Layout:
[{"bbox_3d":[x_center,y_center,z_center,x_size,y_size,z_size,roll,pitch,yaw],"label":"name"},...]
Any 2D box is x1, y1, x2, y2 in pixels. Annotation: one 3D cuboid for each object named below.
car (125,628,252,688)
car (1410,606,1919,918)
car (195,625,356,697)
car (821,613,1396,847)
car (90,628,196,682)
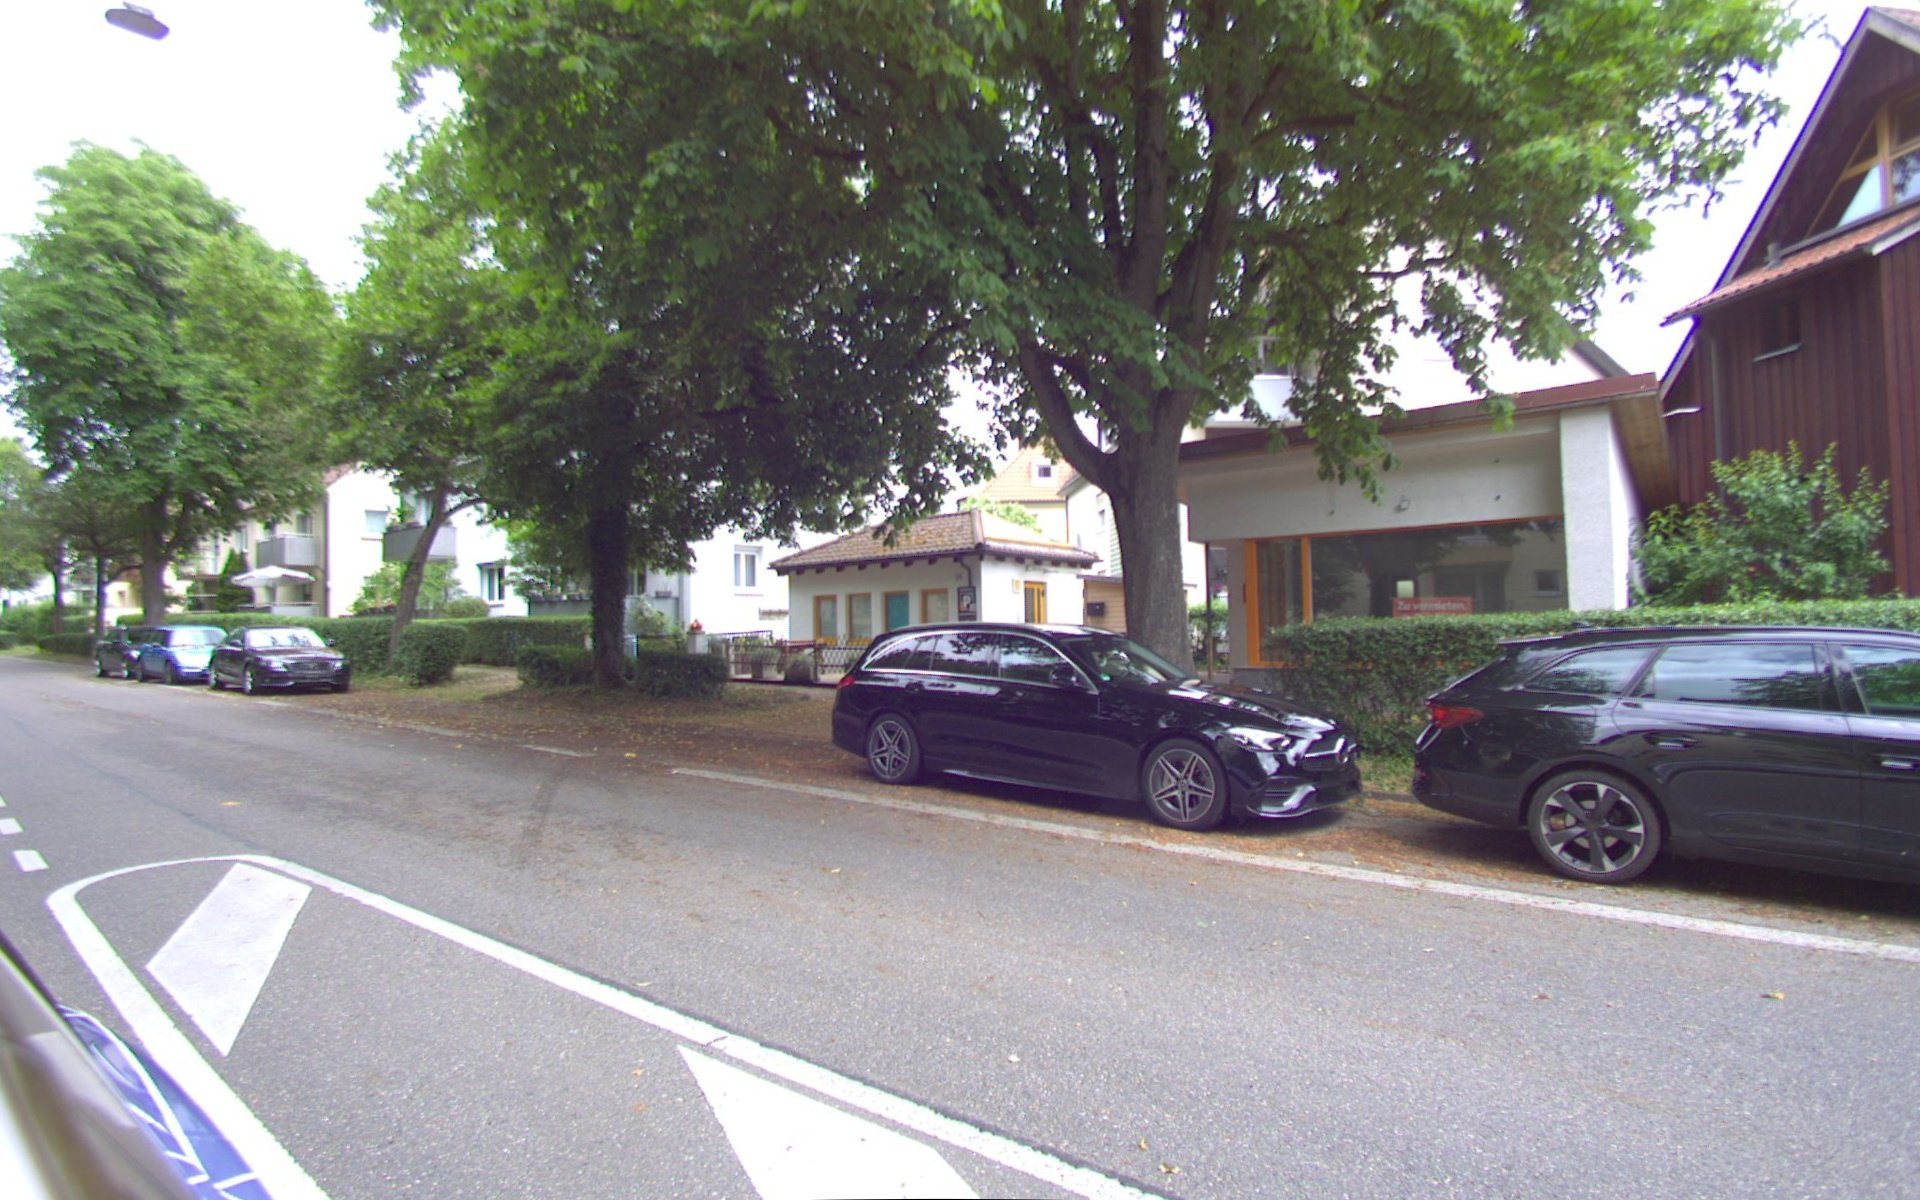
[{"bbox_3d":[-19.432,1.429,25.442,4.147,1.387,1.617,-2,-3,39],"label":"car"},{"bbox_3d":[5.035,0.781,5.423,4.509,1.461,1.728,-1,-2,39],"label":"car"},{"bbox_3d":[-14.795,1.282,21.780,4.592,1.387,1.827,-3,-3,42],"label":"car"},{"bbox_3d":[1.013,0.877,8.525,4.590,1.461,1.727,-1,-2,41],"label":"car"},{"bbox_3d":[-22.625,1.509,27.978,3.768,1.387,1.521,-2,-3,39],"label":"car"}]
